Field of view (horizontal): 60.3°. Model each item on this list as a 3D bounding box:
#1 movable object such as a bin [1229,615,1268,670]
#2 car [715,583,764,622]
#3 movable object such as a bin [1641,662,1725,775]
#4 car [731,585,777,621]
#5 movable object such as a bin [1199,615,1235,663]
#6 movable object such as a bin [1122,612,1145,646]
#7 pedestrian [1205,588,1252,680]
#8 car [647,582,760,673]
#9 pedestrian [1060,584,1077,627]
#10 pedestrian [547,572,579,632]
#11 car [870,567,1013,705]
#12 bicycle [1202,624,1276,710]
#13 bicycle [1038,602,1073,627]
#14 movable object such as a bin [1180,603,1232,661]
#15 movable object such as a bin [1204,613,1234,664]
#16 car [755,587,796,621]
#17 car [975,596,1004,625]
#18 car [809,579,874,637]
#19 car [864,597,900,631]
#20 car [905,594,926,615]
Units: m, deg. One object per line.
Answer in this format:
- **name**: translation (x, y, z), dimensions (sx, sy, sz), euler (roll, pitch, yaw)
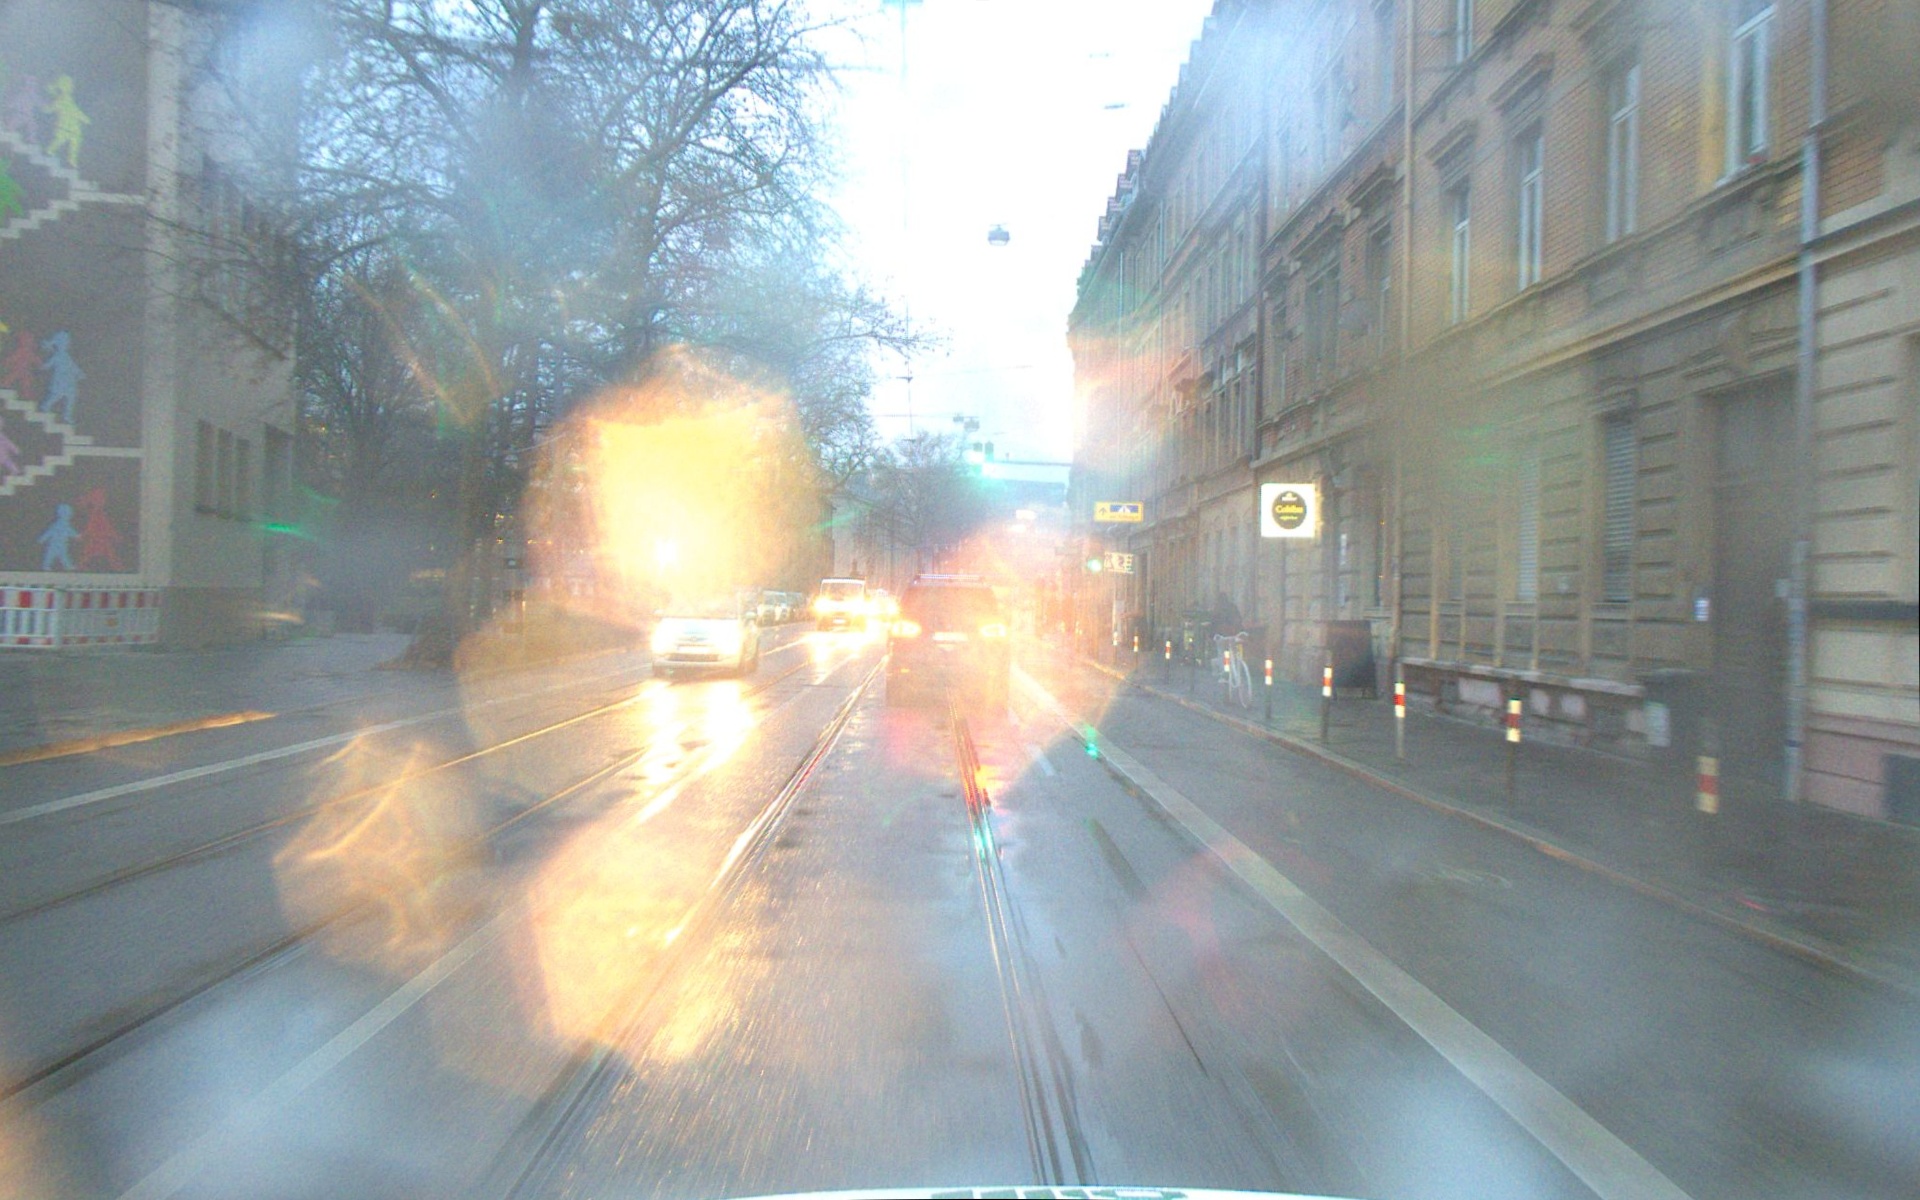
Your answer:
- **movable object such as a bin**: translation (5.895, 0.868, 33.770), dimensions (0.604, 1.099, 0.487), euler (1, 0, -29)
- **car**: translation (-9.857, 0.113, 74.148), dimensions (1.945, 1.643, 4.424), euler (2, 0, -5)
- **movable object such as a bin**: translation (6.401, 1.042, 14.662), dimensions (0.496, 0.947, 0.507), euler (1, 0, -2)
- **car**: translation (-9.809, 0.145, 78.970), dimensions (1.945, 1.643, 4.424), euler (2, 0, -5)
- **movable object such as a bin**: translation (5.776, 0.876, 37.180), dimensions (0.748, 1.056, 0.600), euler (1, 0, 14)
- **movable object such as a bin**: translation (5.569, 0.917, 52.993), dimensions (0.627, 1.073, 0.744), euler (2, -1, -1)
- **pedestrian**: translation (5.185, 0.654, 31.998), dimensions (0.817, 1.731, 0.954), euler (1, -1, 7)
- **car**: translation (-4.562, 0.460, 29.844), dimensions (1.499, 1.507, 3.560), euler (1, 0, -1)
- **pedestrian**: translation (5.098, 0.274, 77.848), dimensions (0.701, 1.987, 0.657), euler (2, -1, -1)
- **pedestrian**: translation (-12.406, 0.062, 51.685), dimensions (0.804, 1.847, 1.008), euler (2, -1, -6)
- **car**: translation (-0.196, 0.501, 25.062), dimensions (1.952, 1.874, 4.001), euler (1, 0, 2)
- **bicycle**: translation (4.062, 0.952, 24.217), dimensions (0.670, 1.176, 2.188), euler (2, 0, -1)
- **bicycle**: translation (4.467, 0.677, 77.625), dimensions (0.781, 1.164, 2.230), euler (2, 0, -20)
- **movable object such as a bin**: translation (5.680, 0.725, 38.242), dimensions (0.871, 1.311, 1.260), euler (1, 0, -8)
- **movable object such as a bin**: translation (5.723, 0.847, 36.513), dimensions (0.598, 1.101, 0.600), euler (1, 0, 14)
- **car**: translation (-9.507, 0.195, 85.521), dimensions (1.945, 1.643, 4.424), euler (2, 0, -5)
- **car**: translation (2.039, 0.707, 113.686), dimensions (1.952, 1.874, 4.001), euler (1, 0, 2)
- **car**: translation (-5.070, 0.347, 71.474), dimensions (2.397, 2.388, 5.843), euler (0, 0, -1)
- **car**: translation (-4.895, 0.905, 104.339), dimensions (1.952, 2.049, 4.000), euler (2, 0, 1)
- **car**: translation (-4.409, 0.454, 164.976), dimensions (1.953, 2.049, 3.999), euler (2, 0, -1)
